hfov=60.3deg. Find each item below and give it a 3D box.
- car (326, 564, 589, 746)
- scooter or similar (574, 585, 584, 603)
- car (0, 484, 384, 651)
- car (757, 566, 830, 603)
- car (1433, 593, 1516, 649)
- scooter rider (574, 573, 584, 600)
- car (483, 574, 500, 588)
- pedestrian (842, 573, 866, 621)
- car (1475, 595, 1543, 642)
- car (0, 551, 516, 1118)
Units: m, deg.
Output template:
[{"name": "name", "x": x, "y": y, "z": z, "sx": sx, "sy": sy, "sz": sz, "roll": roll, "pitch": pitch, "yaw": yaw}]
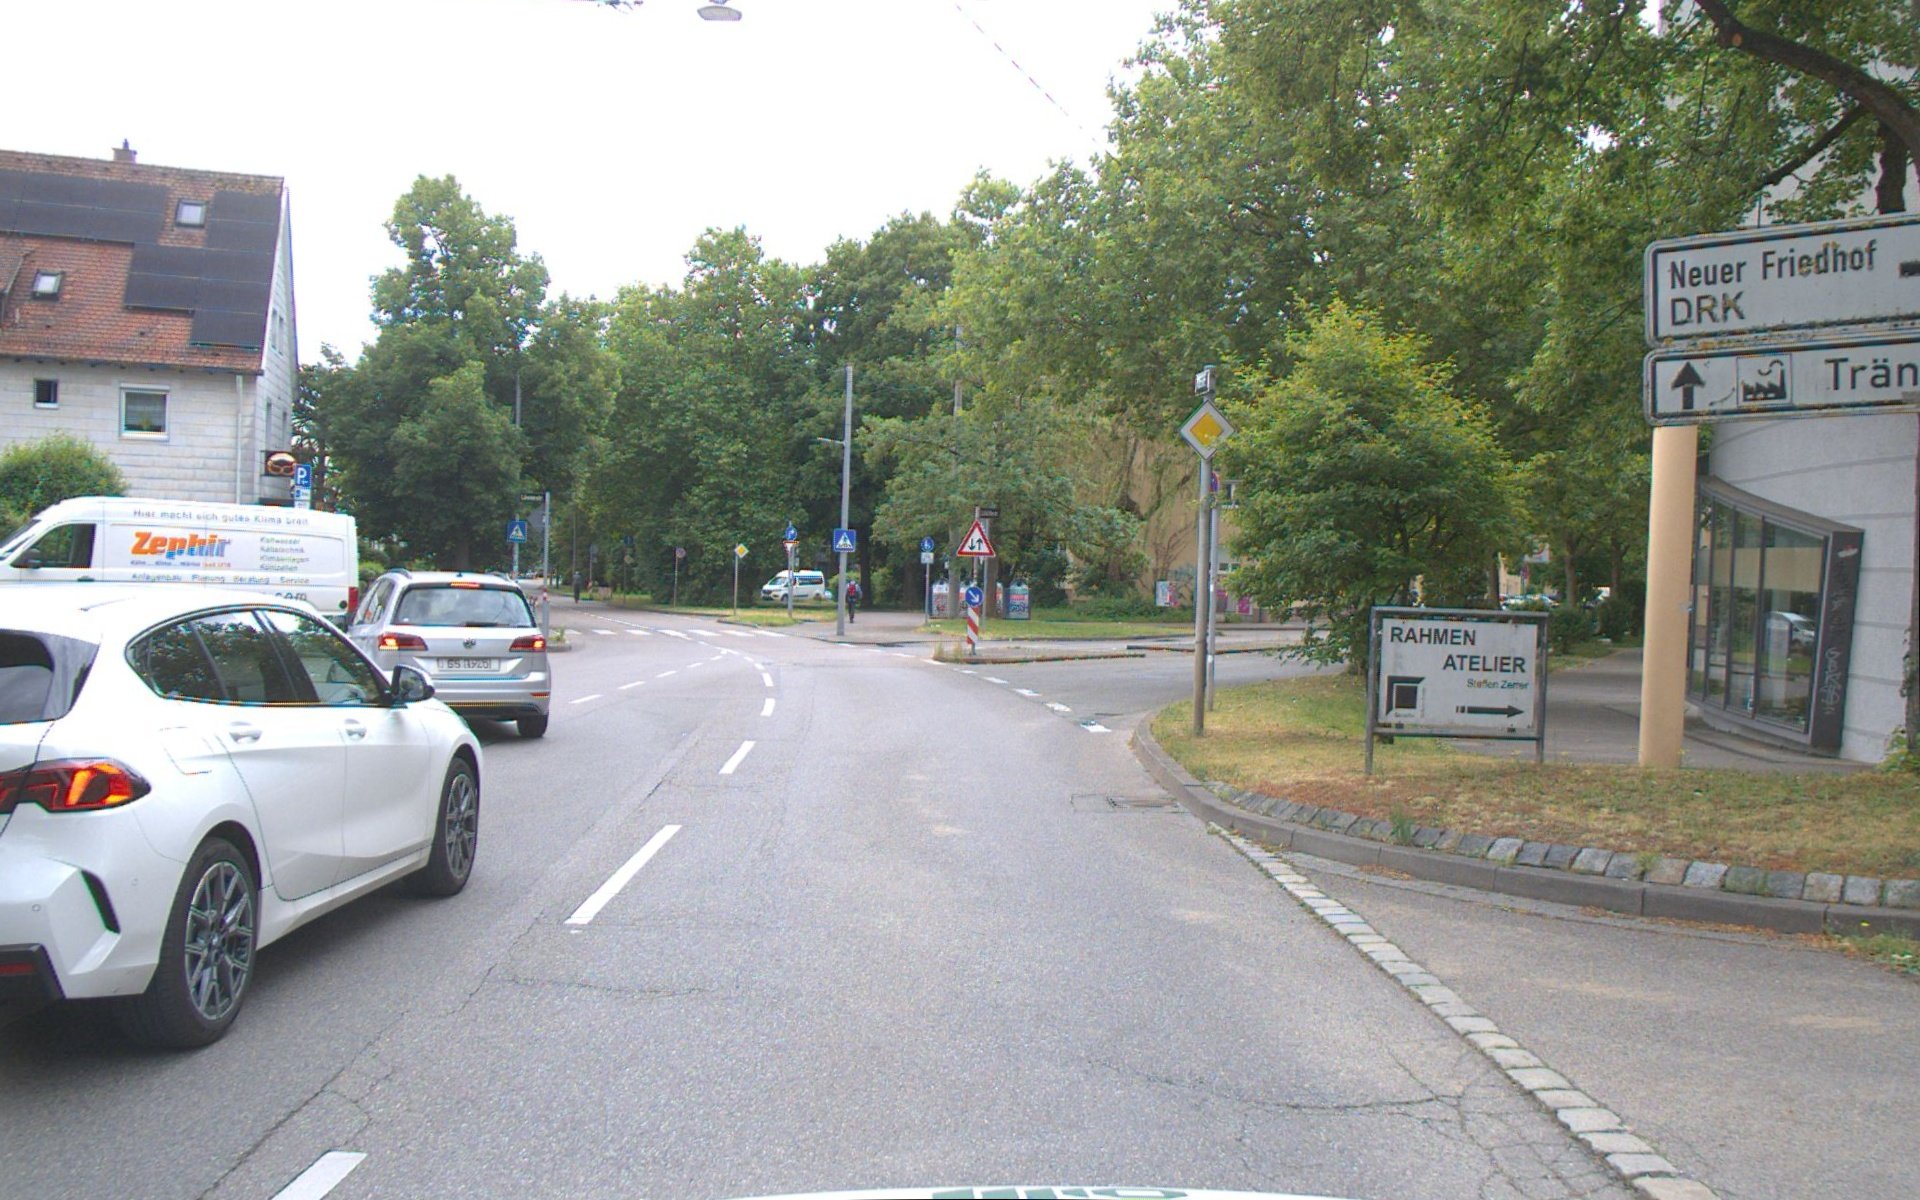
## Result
[{"name": "car", "x": -5.266, "y": 0.471, "z": 16.991, "sx": 1.900, "sy": 1.601, "sz": 3.965, "roll": 1, "pitch": 1, "yaw": -27}, {"name": "scooter or similar", "x": -23.186, "y": -0.353, "z": 100.673, "sx": 0.591, "sy": 1.073, "sz": 0.869, "roll": 0, "pitch": 2, "yaw": -15}, {"name": "car", "x": -13.731, "y": -0.532, "z": 28.396, "sx": 6.912, "sy": 2.565, "sz": 2.056, "roll": 2, "pitch": 2, "yaw": -39}, {"name": "car", "x": -12.044, "y": -1.126, "z": 119.780, "sx": 2.096, "sy": 2.336, "sz": 5.363, "roll": 5, "pitch": 1, "yaw": 37}, {"name": "car", "x": 16.603, "y": 0.668, "z": 53.260, "sx": 1.838, "sy": 1.595, "sz": 4.015, "roll": 5, "pitch": 1, "yaw": 26}, {"name": "scooter rider", "x": -23.225, "y": -0.823, "z": 100.816, "sx": 0.591, "sy": 1.579, "sz": 0.564, "roll": 0, "pitch": 2, "yaw": -16}, {"name": "car", "x": -58.435, "y": -2.350, "z": 206.045, "sx": 1.806, "sy": 1.524, "sz": 3.638, "roll": 4, "pitch": 1, "yaw": -18}, {"name": "pedestrian", "x": -4.355, "y": -0.127, "z": 67.817, "sx": 0.906, "sy": 1.903, "sz": 1.018, "roll": -2, "pitch": 3, "yaw": -5}, {"name": "car", "x": 21.080, "y": 0.725, "z": 63.411, "sx": 1.745, "sy": 1.625, "sz": 4.243, "roll": 4, "pitch": 1, "yaw": 27}, {"name": "car", "x": -3.215, "y": 0.630, "z": 6.600, "sx": 1.759, "sy": 1.544, "sz": 4.207, "roll": 0, "pitch": 0, "yaw": 0}]
